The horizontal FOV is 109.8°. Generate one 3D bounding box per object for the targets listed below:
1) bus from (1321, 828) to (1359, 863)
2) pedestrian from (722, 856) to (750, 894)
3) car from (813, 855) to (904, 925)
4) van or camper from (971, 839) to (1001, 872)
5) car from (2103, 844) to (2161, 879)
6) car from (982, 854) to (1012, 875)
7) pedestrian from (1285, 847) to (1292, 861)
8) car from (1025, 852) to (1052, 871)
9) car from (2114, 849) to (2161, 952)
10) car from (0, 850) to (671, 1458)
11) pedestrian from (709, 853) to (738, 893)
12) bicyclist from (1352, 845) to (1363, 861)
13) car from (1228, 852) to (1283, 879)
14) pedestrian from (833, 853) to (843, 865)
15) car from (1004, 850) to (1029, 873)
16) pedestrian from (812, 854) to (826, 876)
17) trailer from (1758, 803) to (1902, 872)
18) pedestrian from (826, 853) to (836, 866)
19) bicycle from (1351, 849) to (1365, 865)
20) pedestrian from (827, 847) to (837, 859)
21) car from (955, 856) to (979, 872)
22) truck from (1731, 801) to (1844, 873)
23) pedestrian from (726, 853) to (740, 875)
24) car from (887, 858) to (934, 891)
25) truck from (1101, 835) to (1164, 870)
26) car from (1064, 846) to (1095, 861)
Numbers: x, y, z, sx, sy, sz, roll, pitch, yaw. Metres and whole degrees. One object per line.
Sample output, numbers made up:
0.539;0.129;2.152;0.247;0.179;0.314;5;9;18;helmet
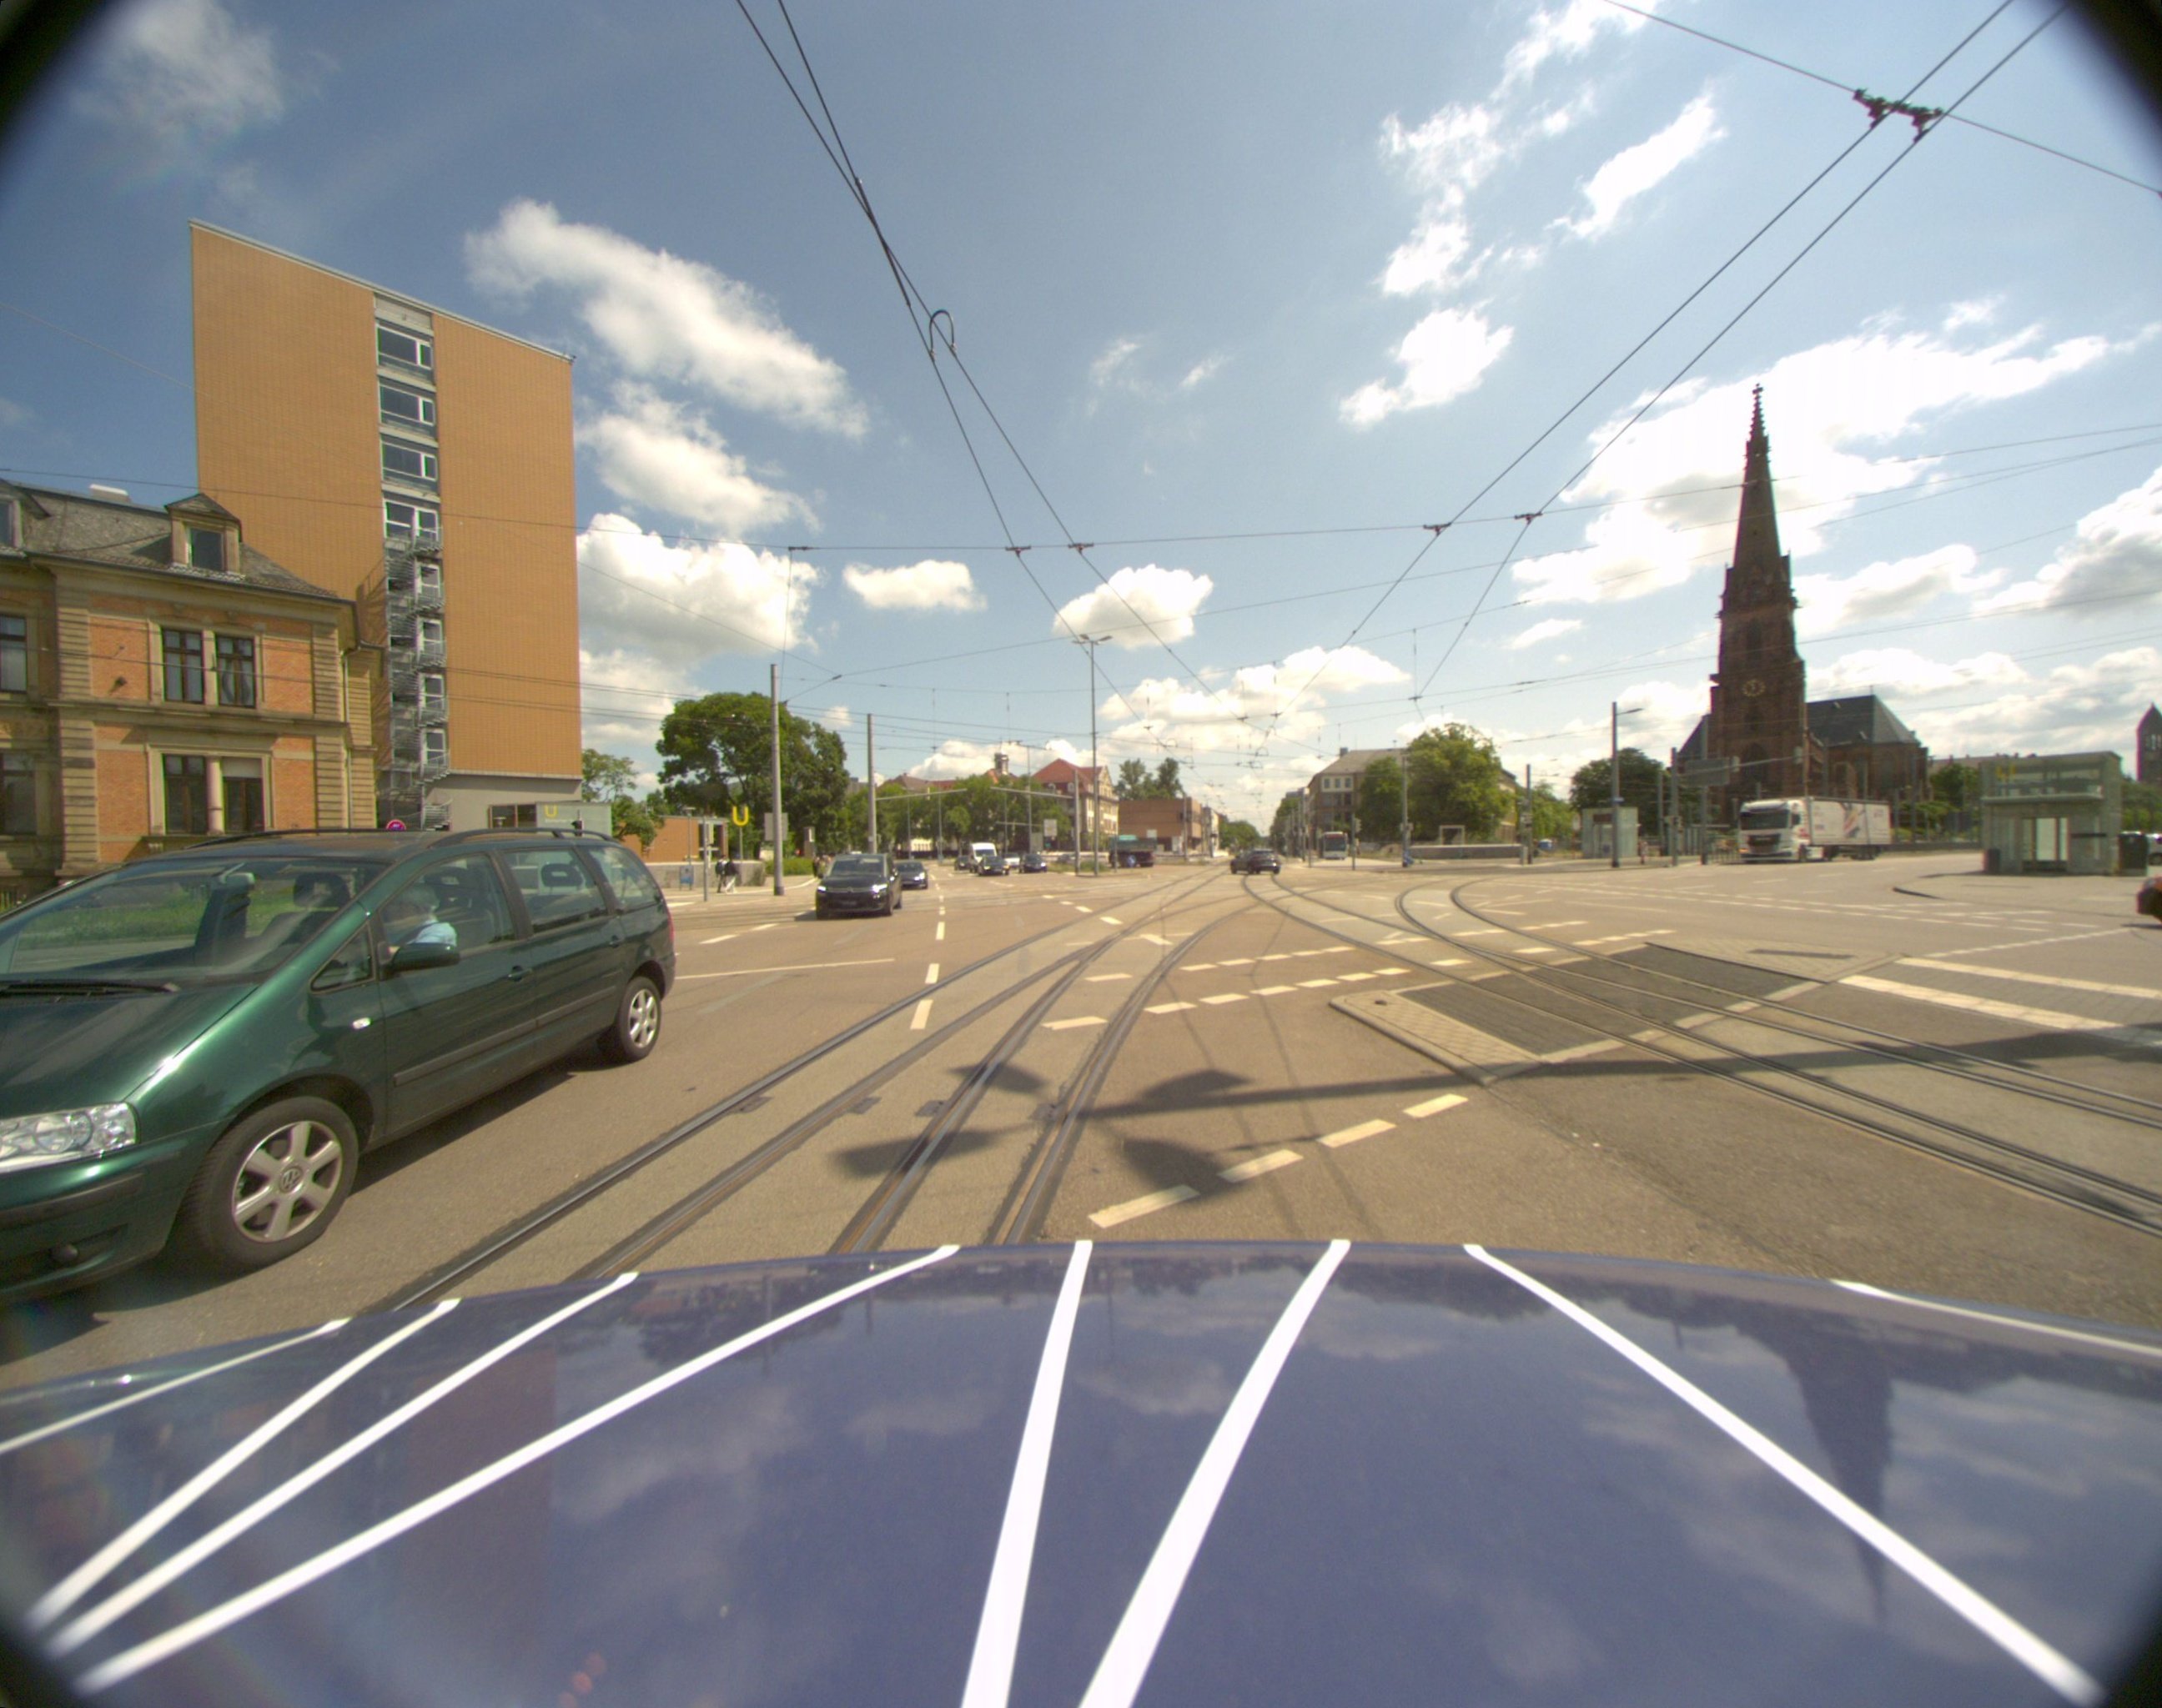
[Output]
26.849;-0.889;79.138;2.947;3.427;7.955;0;0;13;bus
-16.046;0.970;35.325;1.029;1.710;0.726;-2;2;-39;pedestrian
-5.758;0.839;20.169;1.874;1.607;4.422;0;0;-10;car
-8.237;0.107;65.588;2.233;2.719;5.516;-1;1;-10;van or camper
51.562;0.317;35.611;4.163;1.633;1.632;0;0;20;car
-6.233;0.736;56.014;1.902;1.455;4.257;-1;0;-10;car
27.966;0.024;102.450;0.910;1.812;1.022;1;1;11;pedestrian
-3.340;0.578;58.701;1.673;1.368;3.912;-1;0;-9;car
19.460;0.795;11.542;1.770;1.755;4.241;0;0;0;car
-4.127;0.867;4.061;1.820;1.708;4.083;-2;1;-4;car
-16.700;0.862;35.489;1.029;1.802;0.726;-2;2;-39;pedestrian
36.799;-0.145;101.068;1.124;2.002;1.320;1;1;11;bicyclist
10.462;0.690;45.796;1.815;1.551;4.104;0;0;-9;car
-32.295;0.666;101.021;1.153;1.679;1.308;-1;0;-22;pedestrian
-5.811;0.654;67.993;1.816;2.002;3.996;-1;0;-11;car
-18.949;0.777;55.045;0.830;1.576;0.767;-1;0;-9;pedestrian
48.660;-1.067;49.165;13.439;4.053;2.942;-1;1;-29;trailer
-32.445;0.736;98.497;1.153;1.679;1.308;-1;0;-22;pedestrian
36.810;0.385;101.011;1.246;2.002;3.487;0;0;11;bicycle
-33.954;-0.131;103.630;1.153;1.679;1.308;-1;0;-22;pedestrian
-11.451;1.012;76.071;1.783;1.565;3.956;-1;0;-16;car
42.641;-1.024;45.835;6.889;4.095;2.957;-1;1;-29;truck
-26.663;0.756;58.240;0.830;1.616;0.767;-1;0;-9;pedestrian
-8.464;0.980;38.094;1.874;1.477;4.423;-1;0;-7;car
4.642;-0.174;70.299;3.358;2.981;8.723;-1;0;-13;truck
-0.204;-0.037;73.077;1.855;1.407;4.334;0;-1;-16;car
